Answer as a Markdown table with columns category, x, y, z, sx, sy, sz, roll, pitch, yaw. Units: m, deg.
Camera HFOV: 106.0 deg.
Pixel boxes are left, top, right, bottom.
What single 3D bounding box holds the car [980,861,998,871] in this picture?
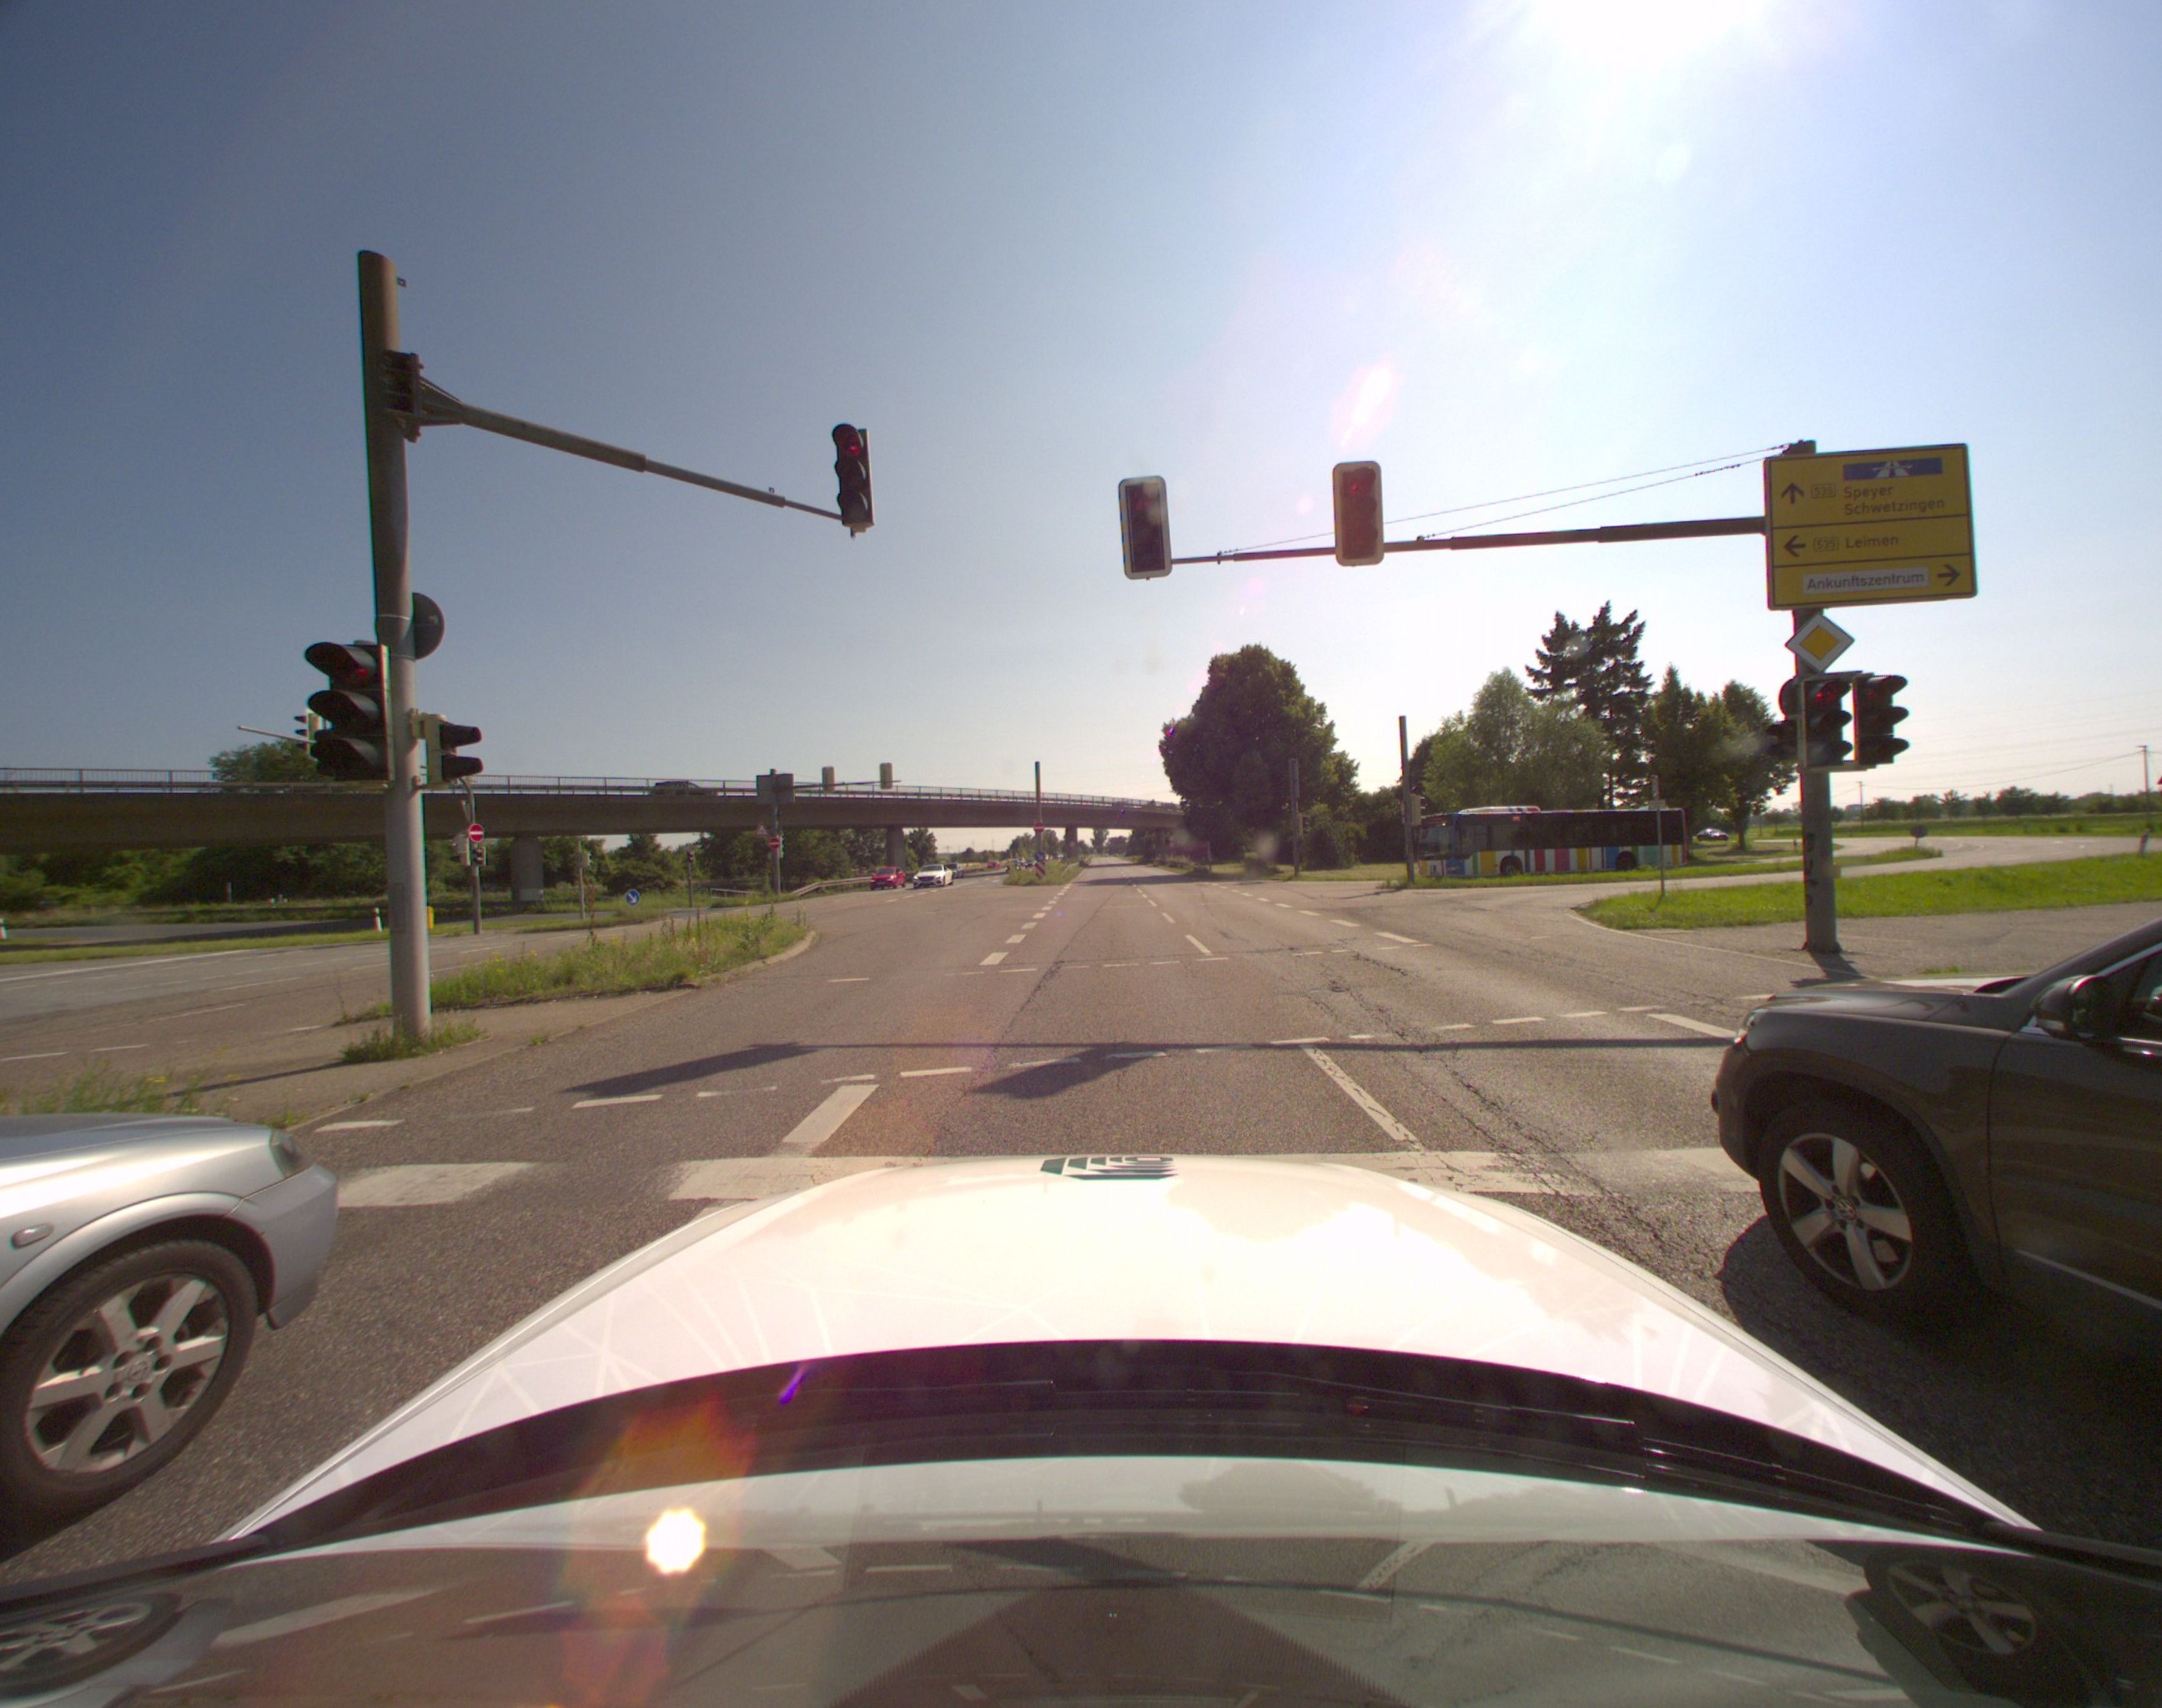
| category | x | y | z | sx | sy | sz | roll | pitch | yaw |
| --- | --- | --- | --- | --- | --- | --- | --- | --- | --- |
| car | -15.233 | 2.019 | 135.012 | 1.983 | 1.558 | 4.008 | -3 | 0 | 7 |

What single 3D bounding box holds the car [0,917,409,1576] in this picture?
| category | x | y | z | sx | sy | sz | roll | pitch | yaw |
| --- | --- | --- | --- | --- | --- | --- | --- | --- | --- |
| car | -3.216 | 0.920 | 0.728 | 1.667 | 1.335 | 4.100 | -3 | 0 | 2 |

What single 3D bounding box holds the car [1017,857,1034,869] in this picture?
| category | x | y | z | sx | sy | sz | roll | pitch | yaw |
| --- | --- | --- | --- | --- | --- | --- | --- | --- | --- |
| car | -10.462 | 1.665 | 153.994 | 1.979 | 2.013 | 4.015 | -3 | 0 | 13 |

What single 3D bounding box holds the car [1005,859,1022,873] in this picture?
| category | x | y | z | sx | sy | sz | roll | pitch | yaw |
| --- | --- | --- | --- | --- | --- | --- | --- | --- | --- |
| car | -8.263 | 1.425 | 99.693 | 1.551 | 1.540 | 4.001 | -3 | 0 | 2 |

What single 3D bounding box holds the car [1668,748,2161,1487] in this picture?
| category | x | y | z | sx | sy | sz | roll | pitch | yaw |
| --- | --- | --- | --- | --- | --- | --- | --- | --- | --- |
| car | 3.278 | 0.581 | 1.298 | 1.749 | 1.655 | 4.147 | -1 | 0 | 1 |

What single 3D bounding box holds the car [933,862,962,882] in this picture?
| category | x | y | z | sx | sy | sz | roll | pitch | yaw |
| --- | --- | --- | --- | --- | --- | --- | --- | --- | --- |
| car | -11.803 | 1.558 | 72.235 | 1.784 | 1.628 | 4.000 | -3 | 0 | 1 |

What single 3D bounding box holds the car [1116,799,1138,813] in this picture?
| category | x | y | z | sx | sy | sz | roll | pitch | yaw |
| --- | --- | --- | --- | --- | --- | --- | --- | --- | --- |
| car | 5.794 | -5.985 | 102.563 | 1.522 | 1.477 | 3.411 | -4 | -1 | 27 |

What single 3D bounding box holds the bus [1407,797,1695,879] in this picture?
| category | x | y | z | sx | sy | sz | roll | pitch | yaw |
| --- | --- | --- | --- | --- | --- | --- | --- | --- | --- |
| bus | 20.223 | -0.712 | 35.033 | 11.954 | 2.877 | 2.928 | -3 | 0 | -14 |

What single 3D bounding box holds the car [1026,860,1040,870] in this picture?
| category | x | y | z | sx | sy | sz | roll | pitch | yaw |
| --- | --- | --- | --- | --- | --- | --- | --- | --- | --- |
| car | -6.888 | 1.572 | 116.861 | 1.551 | 1.259 | 4.001 | -3 | 0 | 2 |

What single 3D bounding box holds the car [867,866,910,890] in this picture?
| category | x | y | z | sx | sy | sz | roll | pitch | yaw |
| --- | --- | --- | --- | --- | --- | --- | --- | --- | --- |
| car | -12.644 | 1.575 | 53.675 | 1.634 | 1.385 | 4.241 | -3 | 0 | 1 |

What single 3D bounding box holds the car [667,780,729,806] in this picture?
| category | x | y | z | sx | sy | sz | roll | pitch | yaw |
| --- | --- | --- | --- | --- | --- | --- | --- | --- | --- |
| car | -25.724 | -4.092 | 54.739 | 1.521 | 1.477 | 3.413 | -5 | -1 | 38 |

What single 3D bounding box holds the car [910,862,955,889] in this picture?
| category | x | y | z | sx | sy | sz | roll | pitch | yaw |
| --- | --- | --- | --- | --- | --- | --- | --- | --- | --- |
| car | -9.218 | 1.285 | 50.959 | 1.850 | 1.448 | 4.241 | -5 | 0 | 1 |
